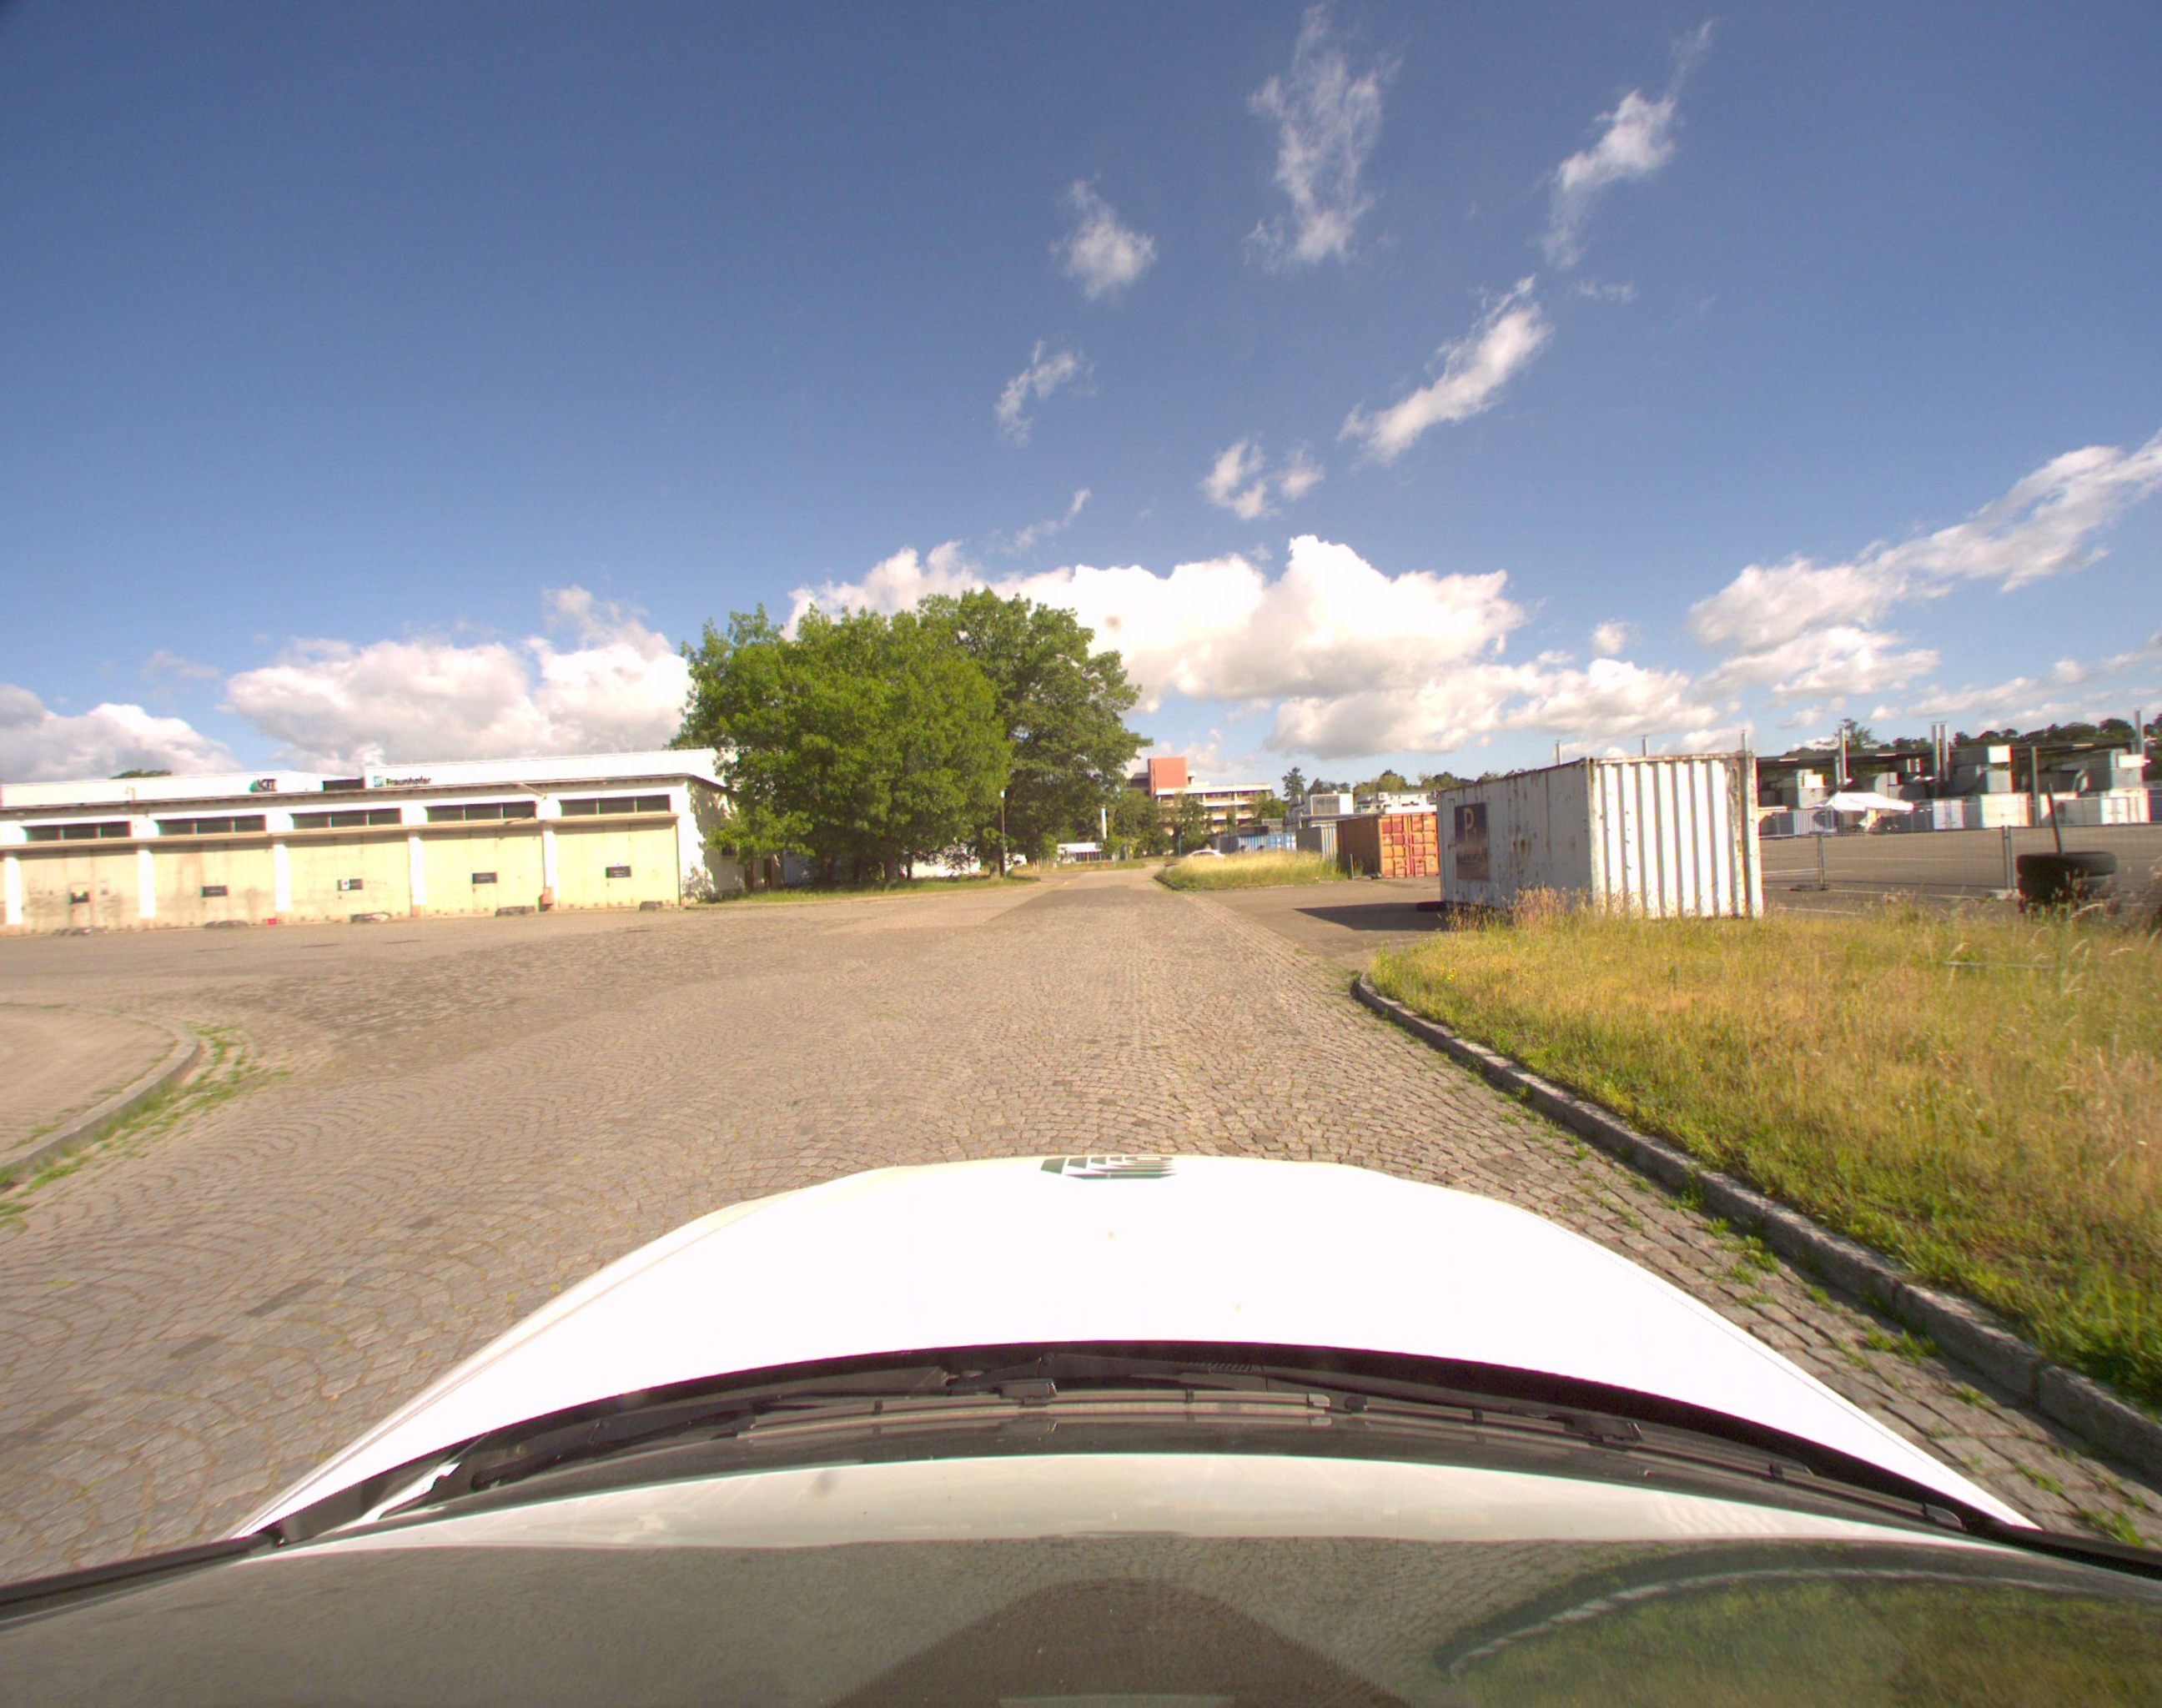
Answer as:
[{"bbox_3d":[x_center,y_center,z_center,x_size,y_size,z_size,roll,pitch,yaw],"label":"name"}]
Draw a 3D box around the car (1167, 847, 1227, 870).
[{"bbox_3d":[9.388,0.376,66.100,4.489,1.647,2.000,-3,0,0],"label":"car"}]
